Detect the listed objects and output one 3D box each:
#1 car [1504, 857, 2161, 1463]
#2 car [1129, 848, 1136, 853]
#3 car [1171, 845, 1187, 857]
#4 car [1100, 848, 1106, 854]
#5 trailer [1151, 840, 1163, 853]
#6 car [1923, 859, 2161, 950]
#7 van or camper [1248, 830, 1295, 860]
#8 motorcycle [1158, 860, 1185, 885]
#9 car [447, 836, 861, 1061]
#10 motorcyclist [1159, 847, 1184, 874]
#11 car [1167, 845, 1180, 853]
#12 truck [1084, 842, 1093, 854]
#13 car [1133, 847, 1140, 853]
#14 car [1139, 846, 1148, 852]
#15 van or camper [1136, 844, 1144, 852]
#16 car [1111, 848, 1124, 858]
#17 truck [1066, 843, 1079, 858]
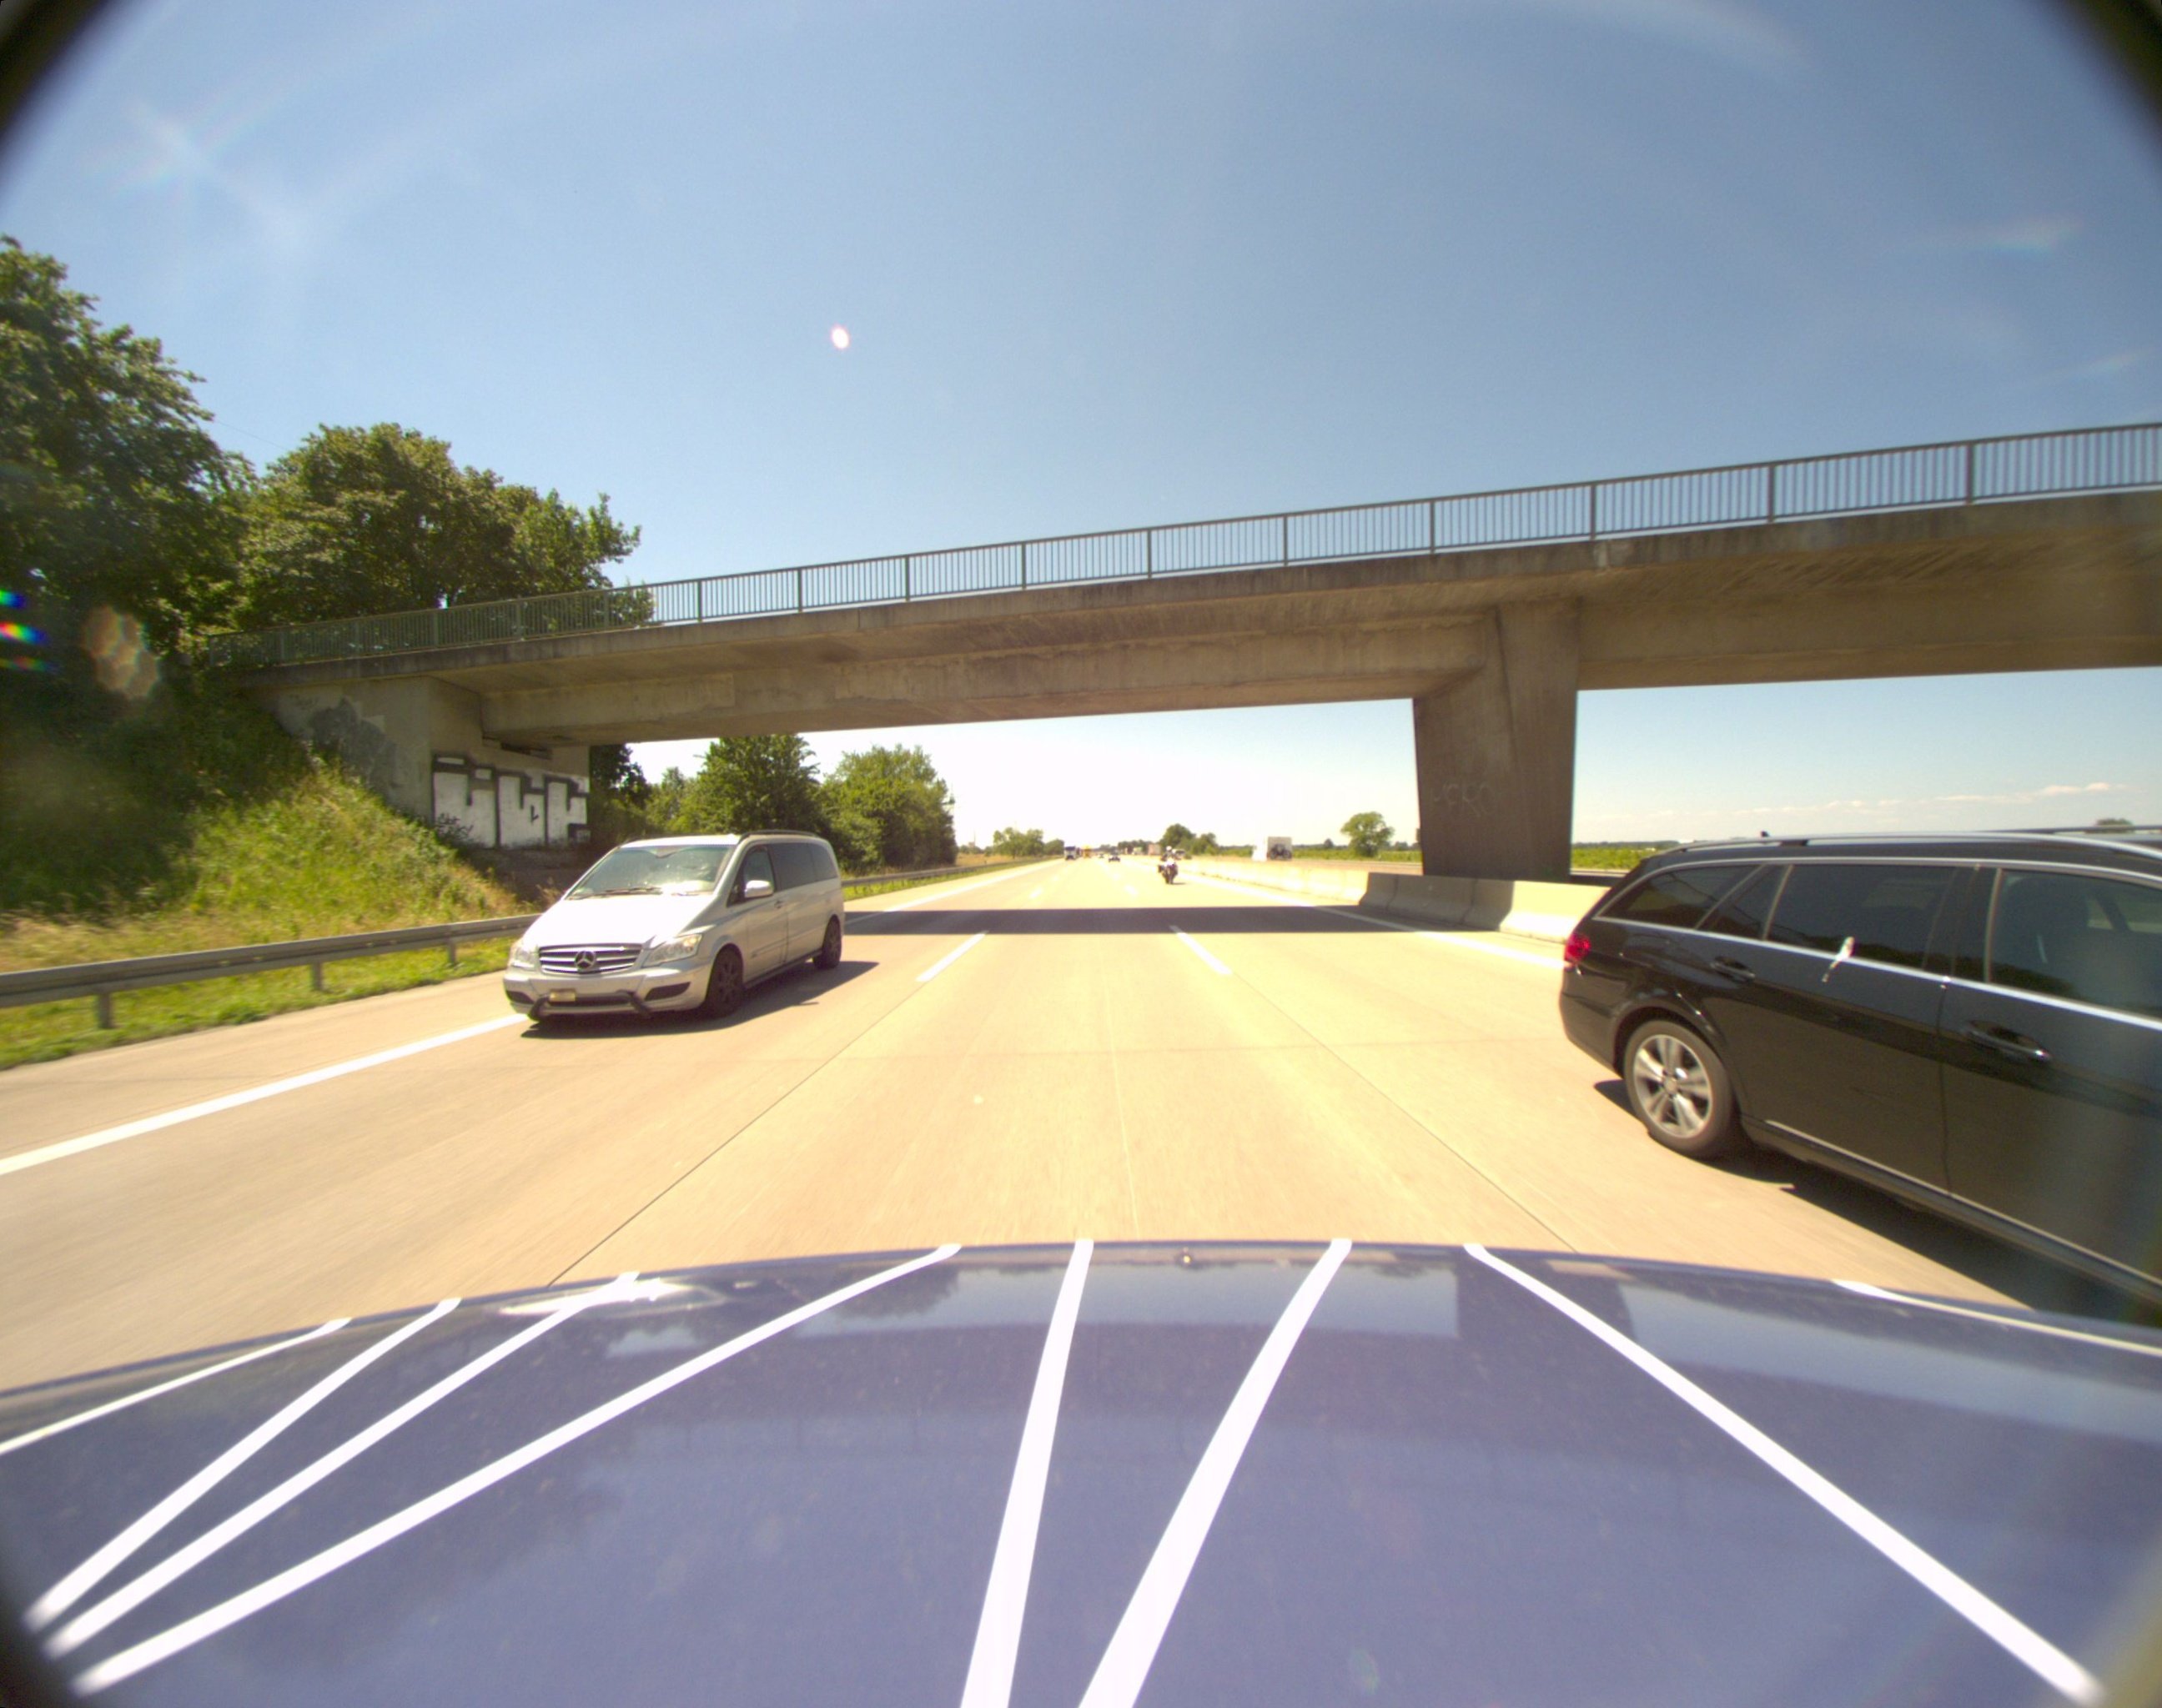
[{"bbox_3d":[3.647,0.778,2.100,1.895,1.465,5.603,-1,0,1],"label":"car"},{"bbox_3d":[16.722,-1.102,246.942,1.847,1.606,4.427,0,0,0],"label":"car"},{"bbox_3d":[14.943,-0.476,116.131,1.831,1.708,5.792,-1,0,0],"label":"car"},{"bbox_3d":[6.088,-0.792,207.109,1.586,1.527,3.611,0,1,1],"label":"car"},{"bbox_3d":[25.138,-2.383,251.298,3.007,3.959,12.341,-1,0,1],"label":"trailer"},{"bbox_3d":[17.151,0.780,12.960,1.569,1.311,3.632,-1,0,0],"label":"car"},{"bbox_3d":[17.179,-0.787,68.935,2.254,2.429,7.801,-2,0,0],"label":"van or camper"},{"bbox_3d":[4.080,0.837,34.462,1.023,1.042,2.413,-1,0,3],"label":"motorcycle"},{"bbox_3d":[-4.419,0.803,9.148,1.884,1.878,5.279,-2,0,1],"label":"car"},{"bbox_3d":[4.080,0.287,34.386,1.027,1.202,0.911,-1,1,3],"label":"motorcyclist"},{"bbox_3d":[19.100,-1.038,157.434,2.070,1.488,6.135,0,0,0],"label":"car"},{"bbox_3d":[2.431,-2.019,247.058,2.570,3.711,10.099,-1,0,1],"label":"truck"},{"bbox_3d":[15.312,-1.117,209.888,1.692,1.535,4.338,-1,0,1],"label":"car"},{"bbox_3d":[14.542,-1.117,176.822,1.761,1.488,4.080,0,0,0],"label":"car"},{"bbox_3d":[20.364,-2.125,263.334,2.531,2.873,7.938,-1,0,2],"label":"van or camper"},{"bbox_3d":[5.672,-0.134,118.783,1.998,1.518,4.000,0,1,1],"label":"car"},{"bbox_3d":[-1.940,-0.827,177.092,2.570,3.514,10.099,-1,0,1],"label":"truck"}]
